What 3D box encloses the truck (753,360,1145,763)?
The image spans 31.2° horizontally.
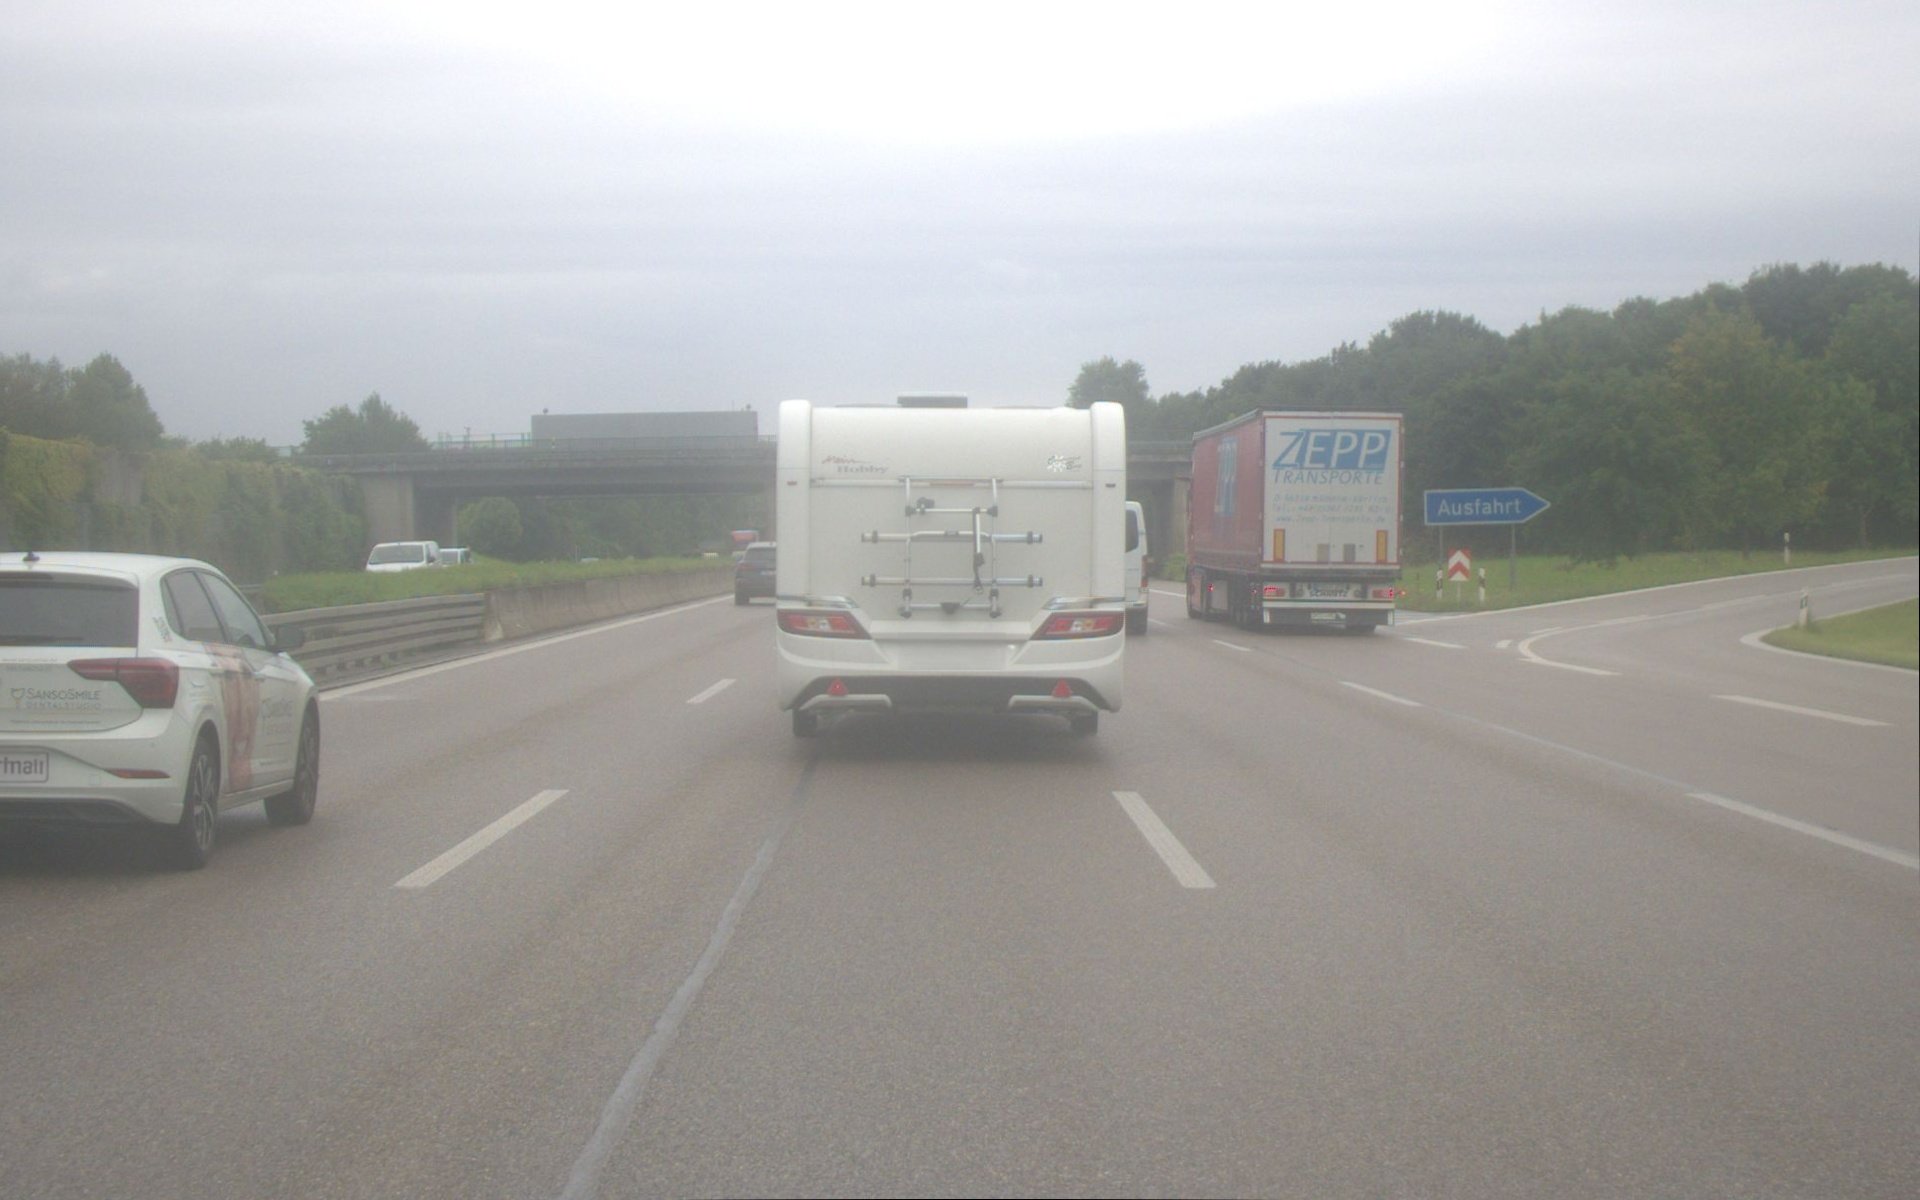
[{"bbox_3d":[-0.115,-0.293,26.166,2.661,2.733,5.078,1,1,-1],"label":"truck"}]

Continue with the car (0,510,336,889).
[{"bbox_3d":[-4.368,0.391,17.003,1.753,1.612,4.664,0,1,-1],"label":"car"}]

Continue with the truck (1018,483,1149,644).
[{"bbox_3d":[2.192,-0.660,62.342,2.053,2.760,5.549,1,1,-1],"label":"truck"}]

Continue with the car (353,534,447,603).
[{"bbox_3d":[-16.924,-0.978,104.064,2.080,2.007,5.195,0,1,-1],"label":"car"}]

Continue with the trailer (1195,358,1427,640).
[{"bbox_3d":[6.554,-1.833,66.160,3.100,4.905,11.791,1,1,0],"label":"trailer"}]

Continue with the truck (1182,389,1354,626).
[{"bbox_3d":[6.504,-1.927,73.345,3.048,4.822,5.850,1,1,0],"label":"truck"}]

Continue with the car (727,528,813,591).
[{"bbox_3d":[-4.983,-1.072,90.774,1.993,1.594,5.124,1,1,0],"label":"car"}]
